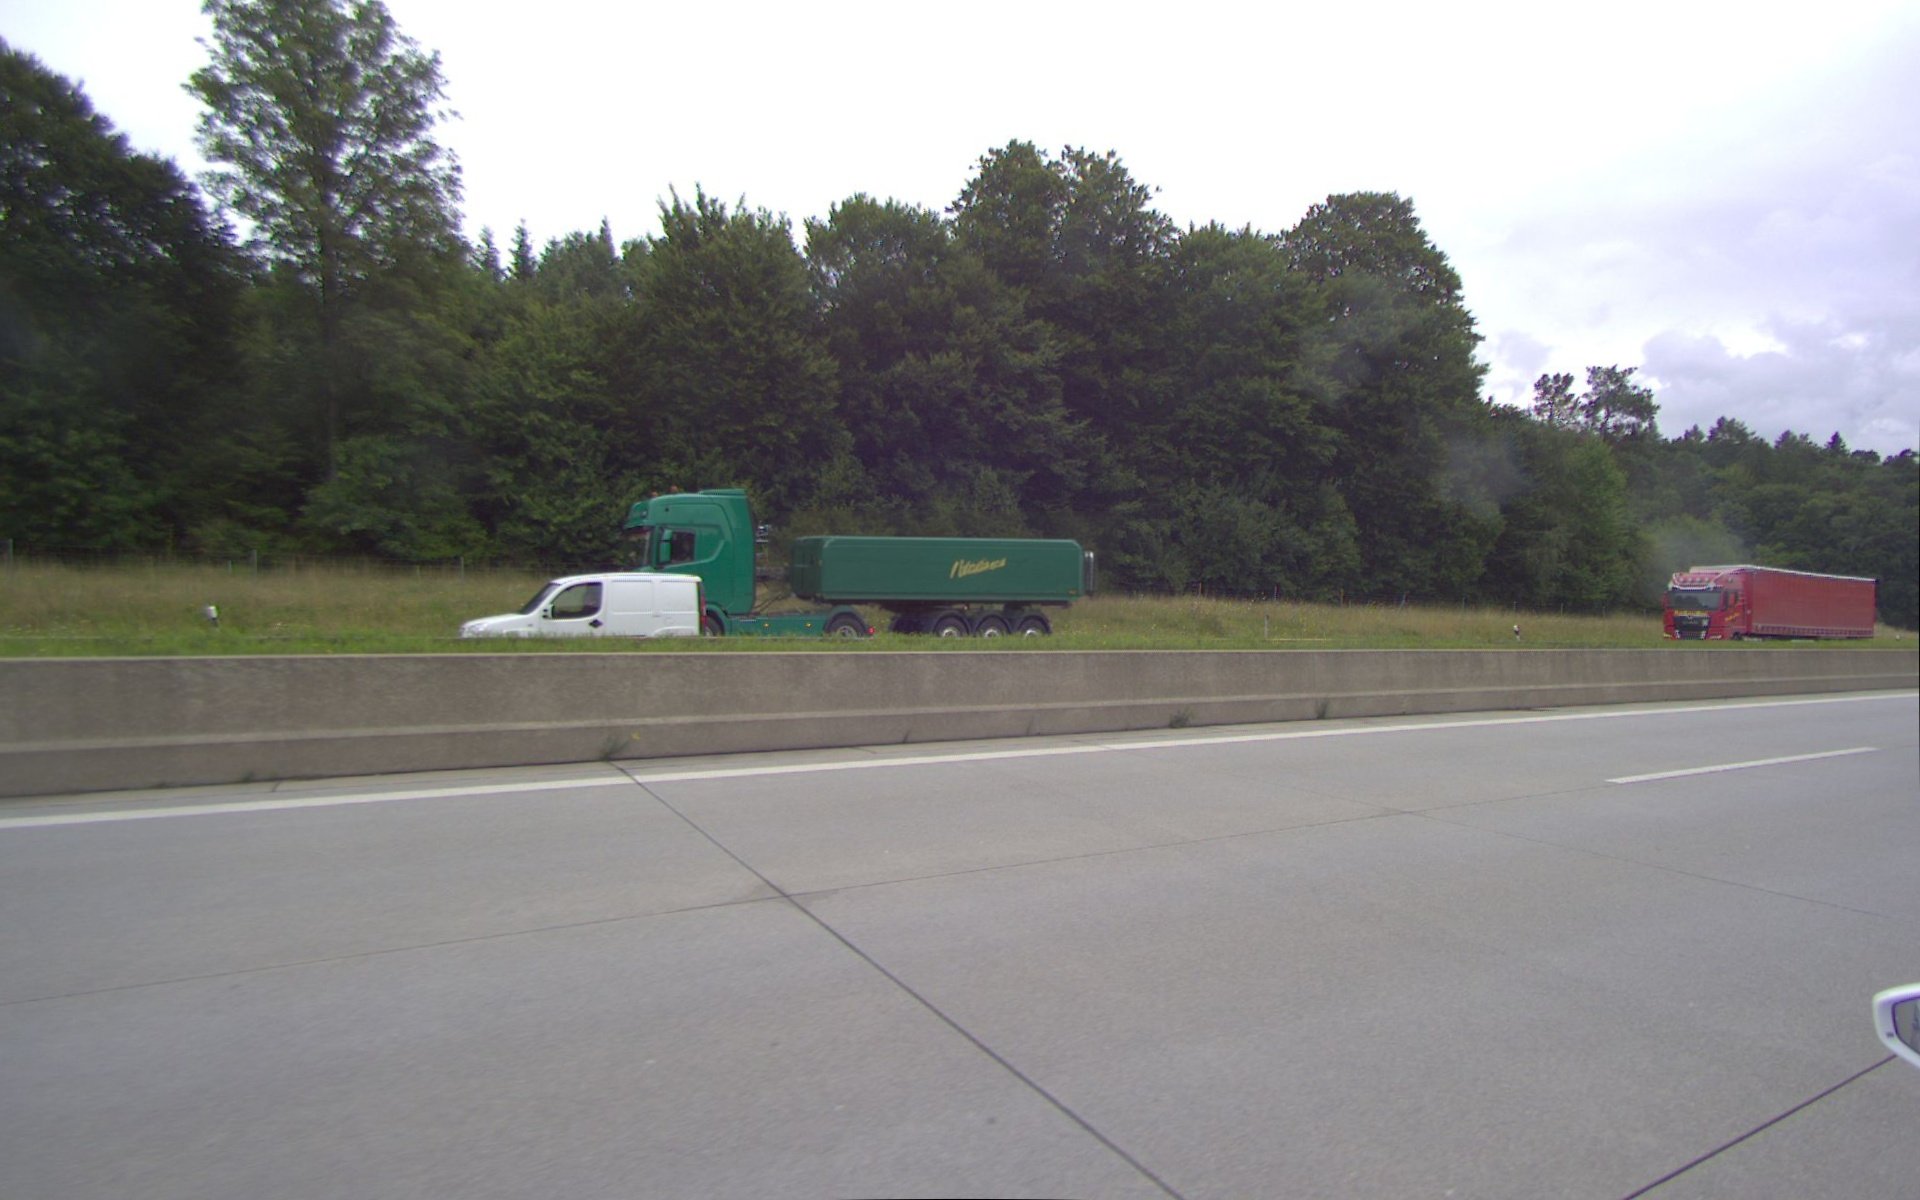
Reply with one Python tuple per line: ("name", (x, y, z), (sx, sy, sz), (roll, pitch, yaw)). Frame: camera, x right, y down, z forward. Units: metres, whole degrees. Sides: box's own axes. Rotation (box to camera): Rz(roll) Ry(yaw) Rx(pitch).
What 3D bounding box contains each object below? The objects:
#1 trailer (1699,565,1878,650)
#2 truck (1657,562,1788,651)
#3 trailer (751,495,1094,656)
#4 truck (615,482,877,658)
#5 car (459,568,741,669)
("trailer", (43.153, 0.495, 52.056), (14.214, 3.997, 2.594), (1, 0, -31))
("truck", (36.488, 0.344, 48.009), (6.866, 3.980, 2.540), (1, 0, -31))
("trailer", (-0.811, -0.505, 26.876), (8.908, 3.750, 2.790), (1, 0, -31))
("truck", (-5.142, -0.599, 24.269), (5.595, 3.790, 2.766), (1, 0, -31))
("car", (-6.398, 0.328, 18.000), (4.507, 1.621, 1.772), (1, 0, -30))
